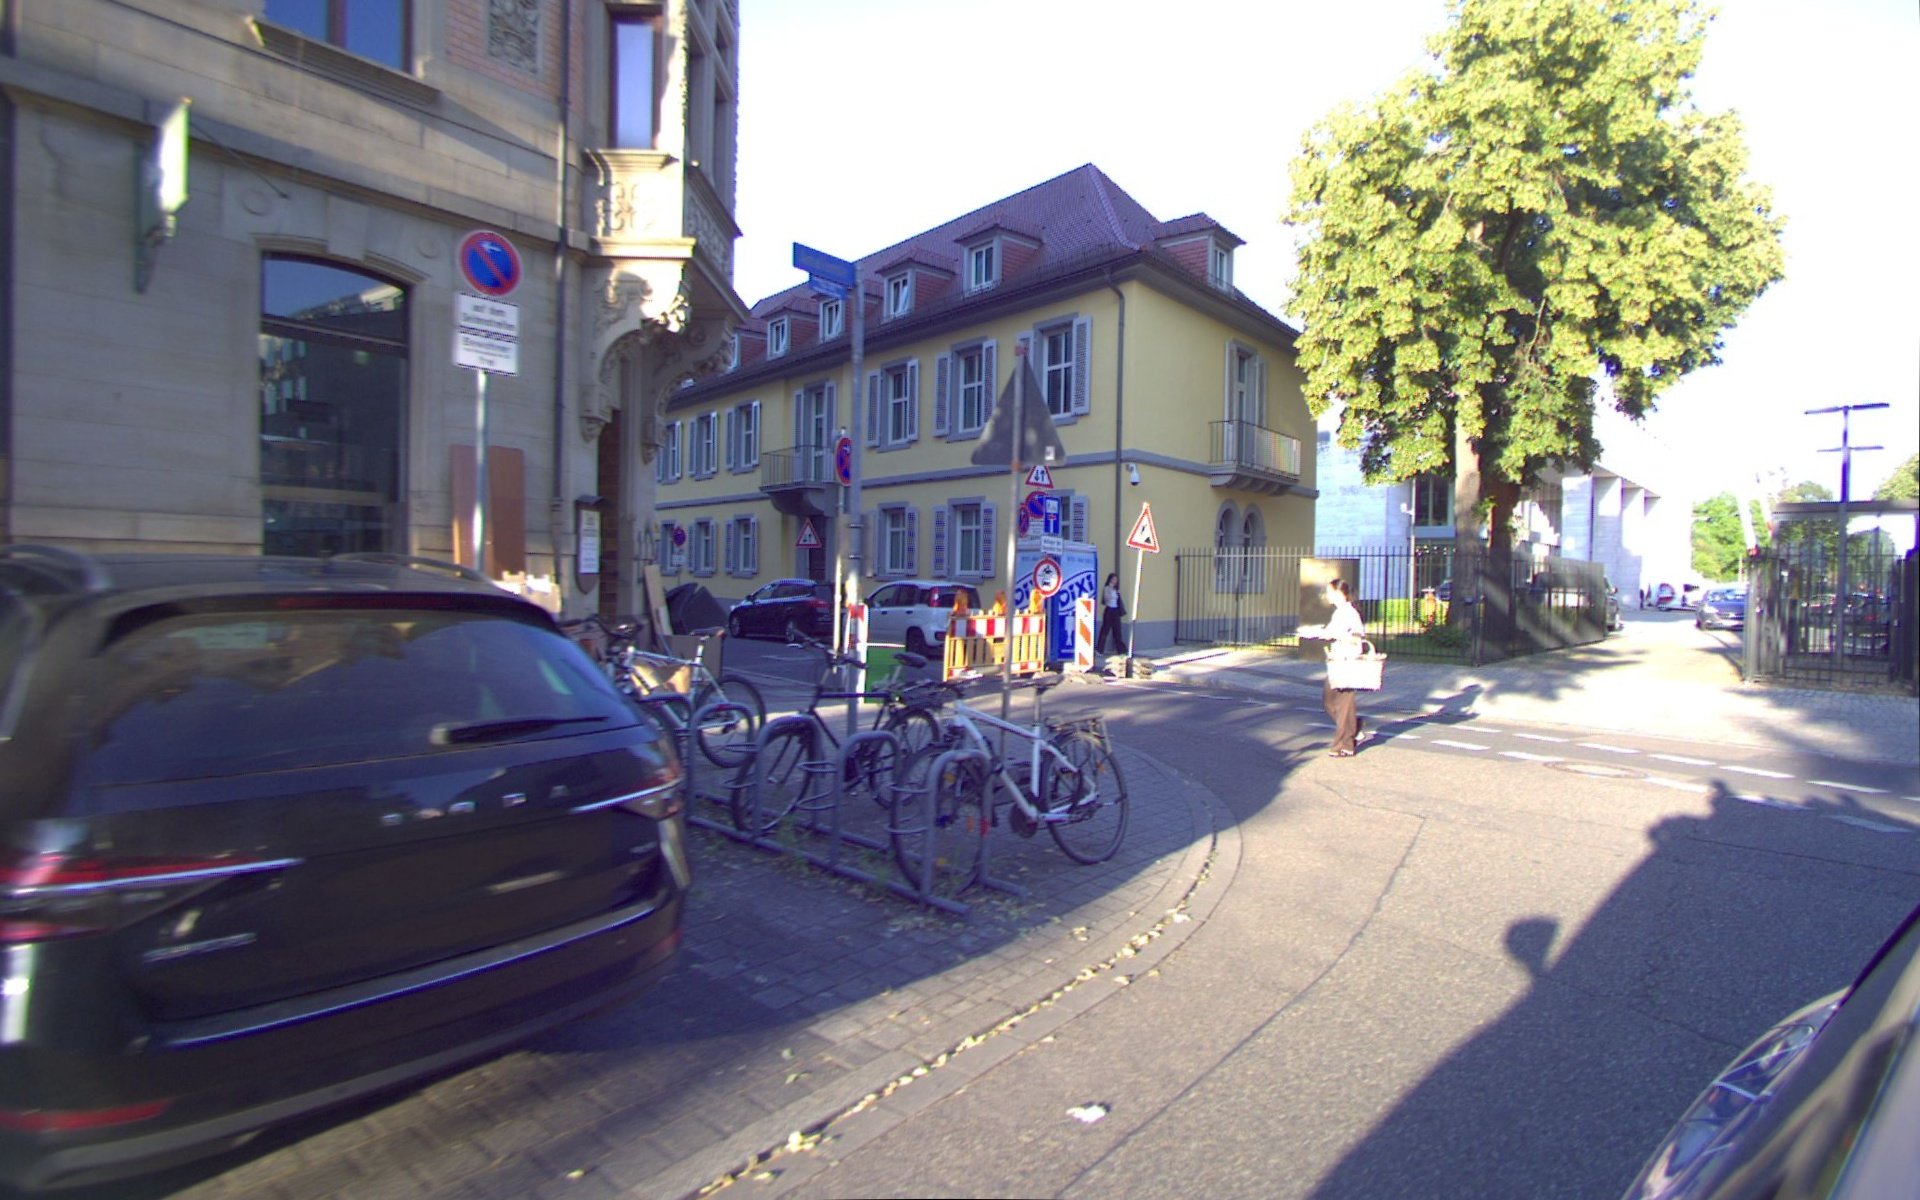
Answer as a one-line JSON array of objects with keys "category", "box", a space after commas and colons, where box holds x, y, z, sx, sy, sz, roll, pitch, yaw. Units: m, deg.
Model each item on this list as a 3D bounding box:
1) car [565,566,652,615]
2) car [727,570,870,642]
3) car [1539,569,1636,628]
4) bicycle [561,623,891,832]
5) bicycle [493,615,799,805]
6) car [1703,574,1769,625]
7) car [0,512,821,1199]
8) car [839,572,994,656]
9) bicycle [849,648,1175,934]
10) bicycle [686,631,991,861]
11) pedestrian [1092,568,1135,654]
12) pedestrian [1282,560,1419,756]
[{"category": "car", "box": [-11.558, -0.332, 33.149, 1.692, 1.539, 3.218, 0, 1, -39]}, {"category": "car", "box": [-3.913, 0.101, 24.039, 1.517, 1.539, 3.975, 2, 1, -39]}, {"category": "car", "box": [20.540, -0.102, 33.069, 3.998, 1.757, 1.706, -1, 4, -44]}, {"category": "bicycle", "box": [-1.381, 0.701, 6.389, 0.636, 1.026, 2.081, 2, 2, 39]}, {"category": "bicycle", "box": [-2.034, 0.657, 6.873, 0.463, 1.053, 2.081, 2, 1, 38]}, {"category": "car", "box": [26.483, -0.058, 34.622, 1.701, 1.604, 3.632, 1, 2, 36]}, {"category": "car", "box": [-2.732, 0.511, 3.698, 4.522, 1.529, 1.883, 3, 3, 40]}, {"category": "car", "box": [-0.953, 0.244, 20.693, 1.517, 1.539, 3.218, 2, 0, -39]}, {"category": "bicycle", "box": [0.330, 0.818, 4.976, 0.569, 1.060, 1.804, 2, 2, 42]}, {"category": "bicycle", "box": [-0.622, 0.734, 5.812, 0.636, 1.026, 1.806, 2, 1, 39]}, {"category": "pedestrian", "box": [2.951, 0.199, 19.508, 0.460, 1.614, 0.673, 0, 1, -37]}, {"category": "pedestrian", "box": [3.473, 0.493, 9.060, 0.941, 1.679, 0.640, 1, 1, -2]}]
